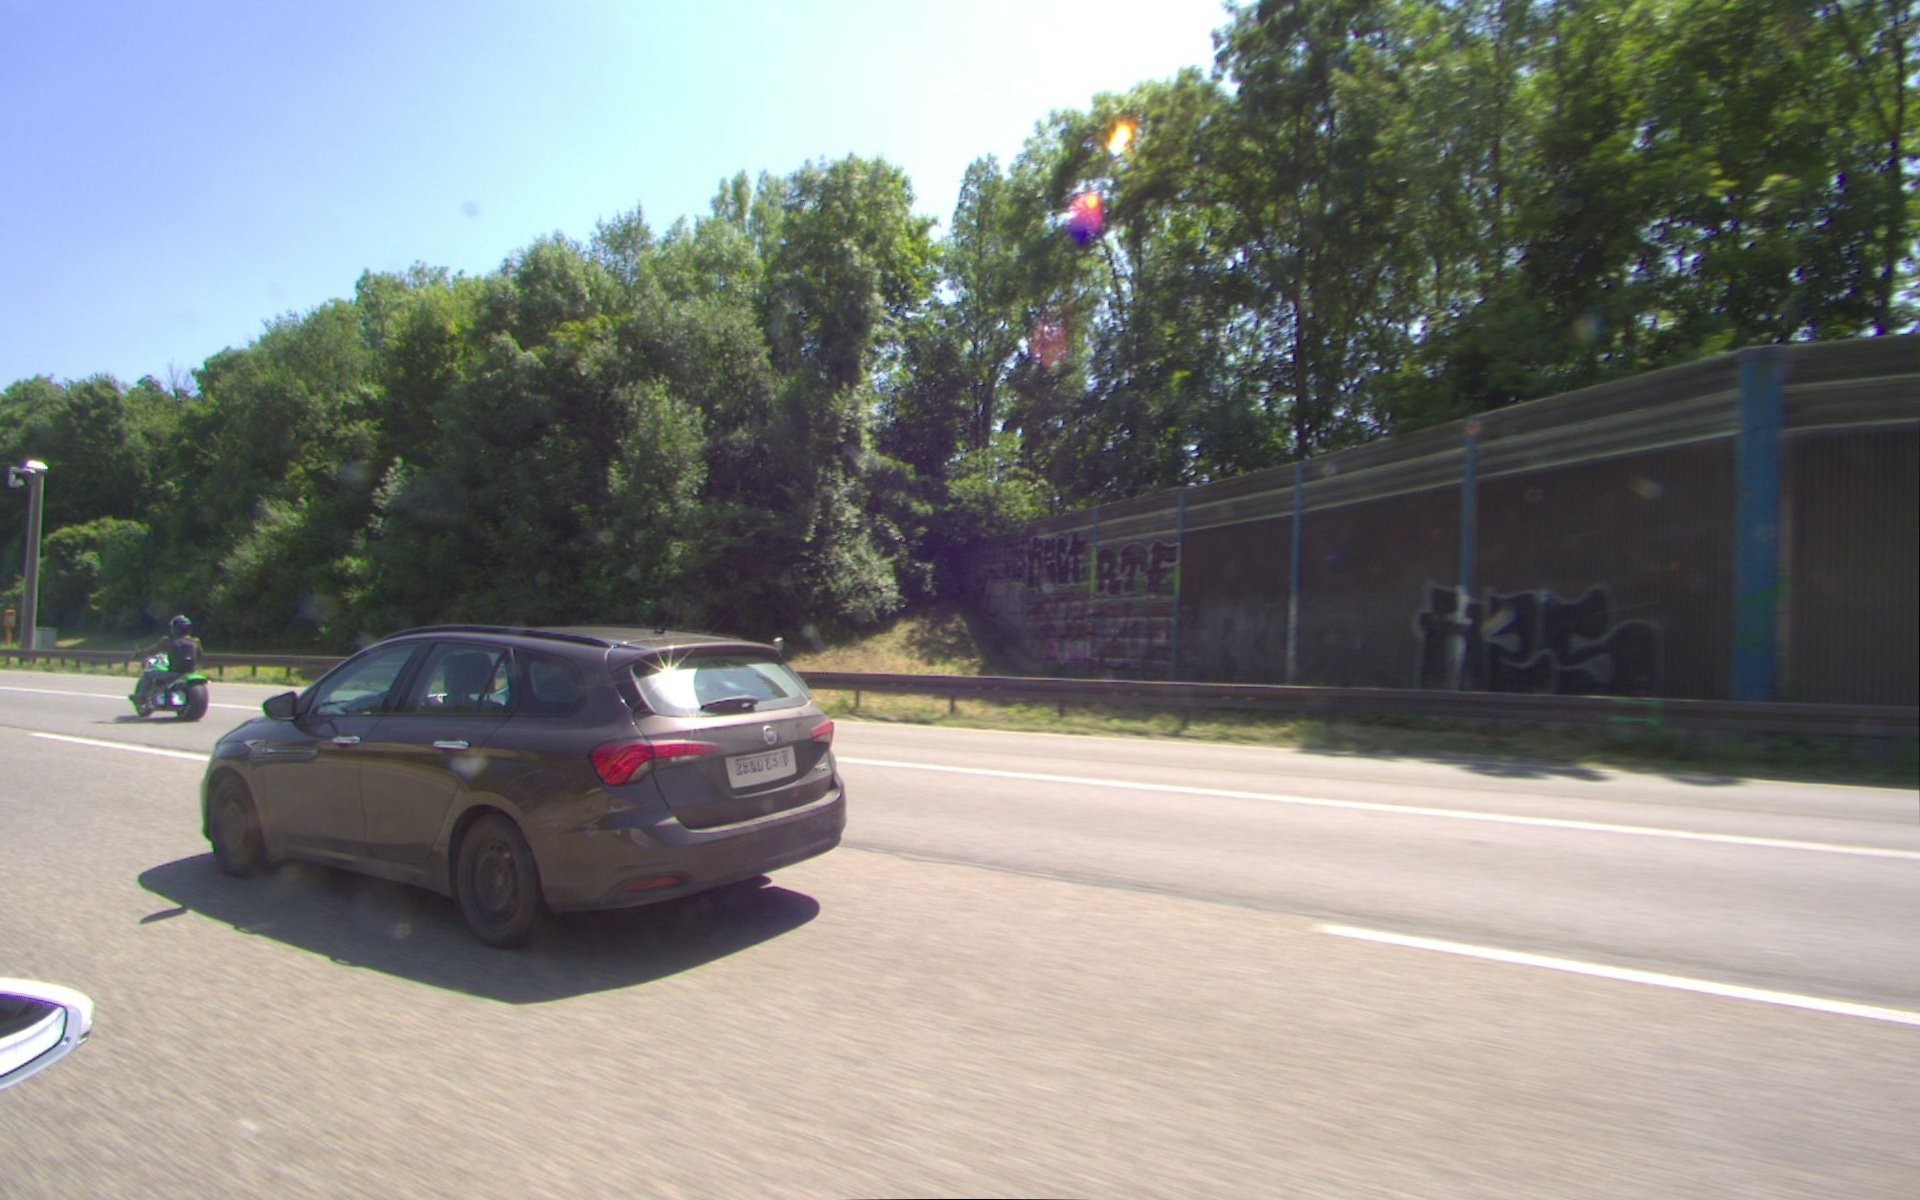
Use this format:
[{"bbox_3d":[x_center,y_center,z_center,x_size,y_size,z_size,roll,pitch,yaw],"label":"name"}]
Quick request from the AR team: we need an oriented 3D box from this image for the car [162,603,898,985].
[{"bbox_3d":[-2.682,0.821,5.968,4.337,1.532,1.836,0,-2,31],"label":"car"}]

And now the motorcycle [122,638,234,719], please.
[{"bbox_3d":[-12.826,1.239,16.406,2.246,1.197,0.857,0,-1,37],"label":"motorcycle"}]

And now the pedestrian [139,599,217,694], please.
[{"bbox_3d":[-12.781,0.751,16.376,0.630,1.498,0.849,1,-1,36],"label":"pedestrian"}]
